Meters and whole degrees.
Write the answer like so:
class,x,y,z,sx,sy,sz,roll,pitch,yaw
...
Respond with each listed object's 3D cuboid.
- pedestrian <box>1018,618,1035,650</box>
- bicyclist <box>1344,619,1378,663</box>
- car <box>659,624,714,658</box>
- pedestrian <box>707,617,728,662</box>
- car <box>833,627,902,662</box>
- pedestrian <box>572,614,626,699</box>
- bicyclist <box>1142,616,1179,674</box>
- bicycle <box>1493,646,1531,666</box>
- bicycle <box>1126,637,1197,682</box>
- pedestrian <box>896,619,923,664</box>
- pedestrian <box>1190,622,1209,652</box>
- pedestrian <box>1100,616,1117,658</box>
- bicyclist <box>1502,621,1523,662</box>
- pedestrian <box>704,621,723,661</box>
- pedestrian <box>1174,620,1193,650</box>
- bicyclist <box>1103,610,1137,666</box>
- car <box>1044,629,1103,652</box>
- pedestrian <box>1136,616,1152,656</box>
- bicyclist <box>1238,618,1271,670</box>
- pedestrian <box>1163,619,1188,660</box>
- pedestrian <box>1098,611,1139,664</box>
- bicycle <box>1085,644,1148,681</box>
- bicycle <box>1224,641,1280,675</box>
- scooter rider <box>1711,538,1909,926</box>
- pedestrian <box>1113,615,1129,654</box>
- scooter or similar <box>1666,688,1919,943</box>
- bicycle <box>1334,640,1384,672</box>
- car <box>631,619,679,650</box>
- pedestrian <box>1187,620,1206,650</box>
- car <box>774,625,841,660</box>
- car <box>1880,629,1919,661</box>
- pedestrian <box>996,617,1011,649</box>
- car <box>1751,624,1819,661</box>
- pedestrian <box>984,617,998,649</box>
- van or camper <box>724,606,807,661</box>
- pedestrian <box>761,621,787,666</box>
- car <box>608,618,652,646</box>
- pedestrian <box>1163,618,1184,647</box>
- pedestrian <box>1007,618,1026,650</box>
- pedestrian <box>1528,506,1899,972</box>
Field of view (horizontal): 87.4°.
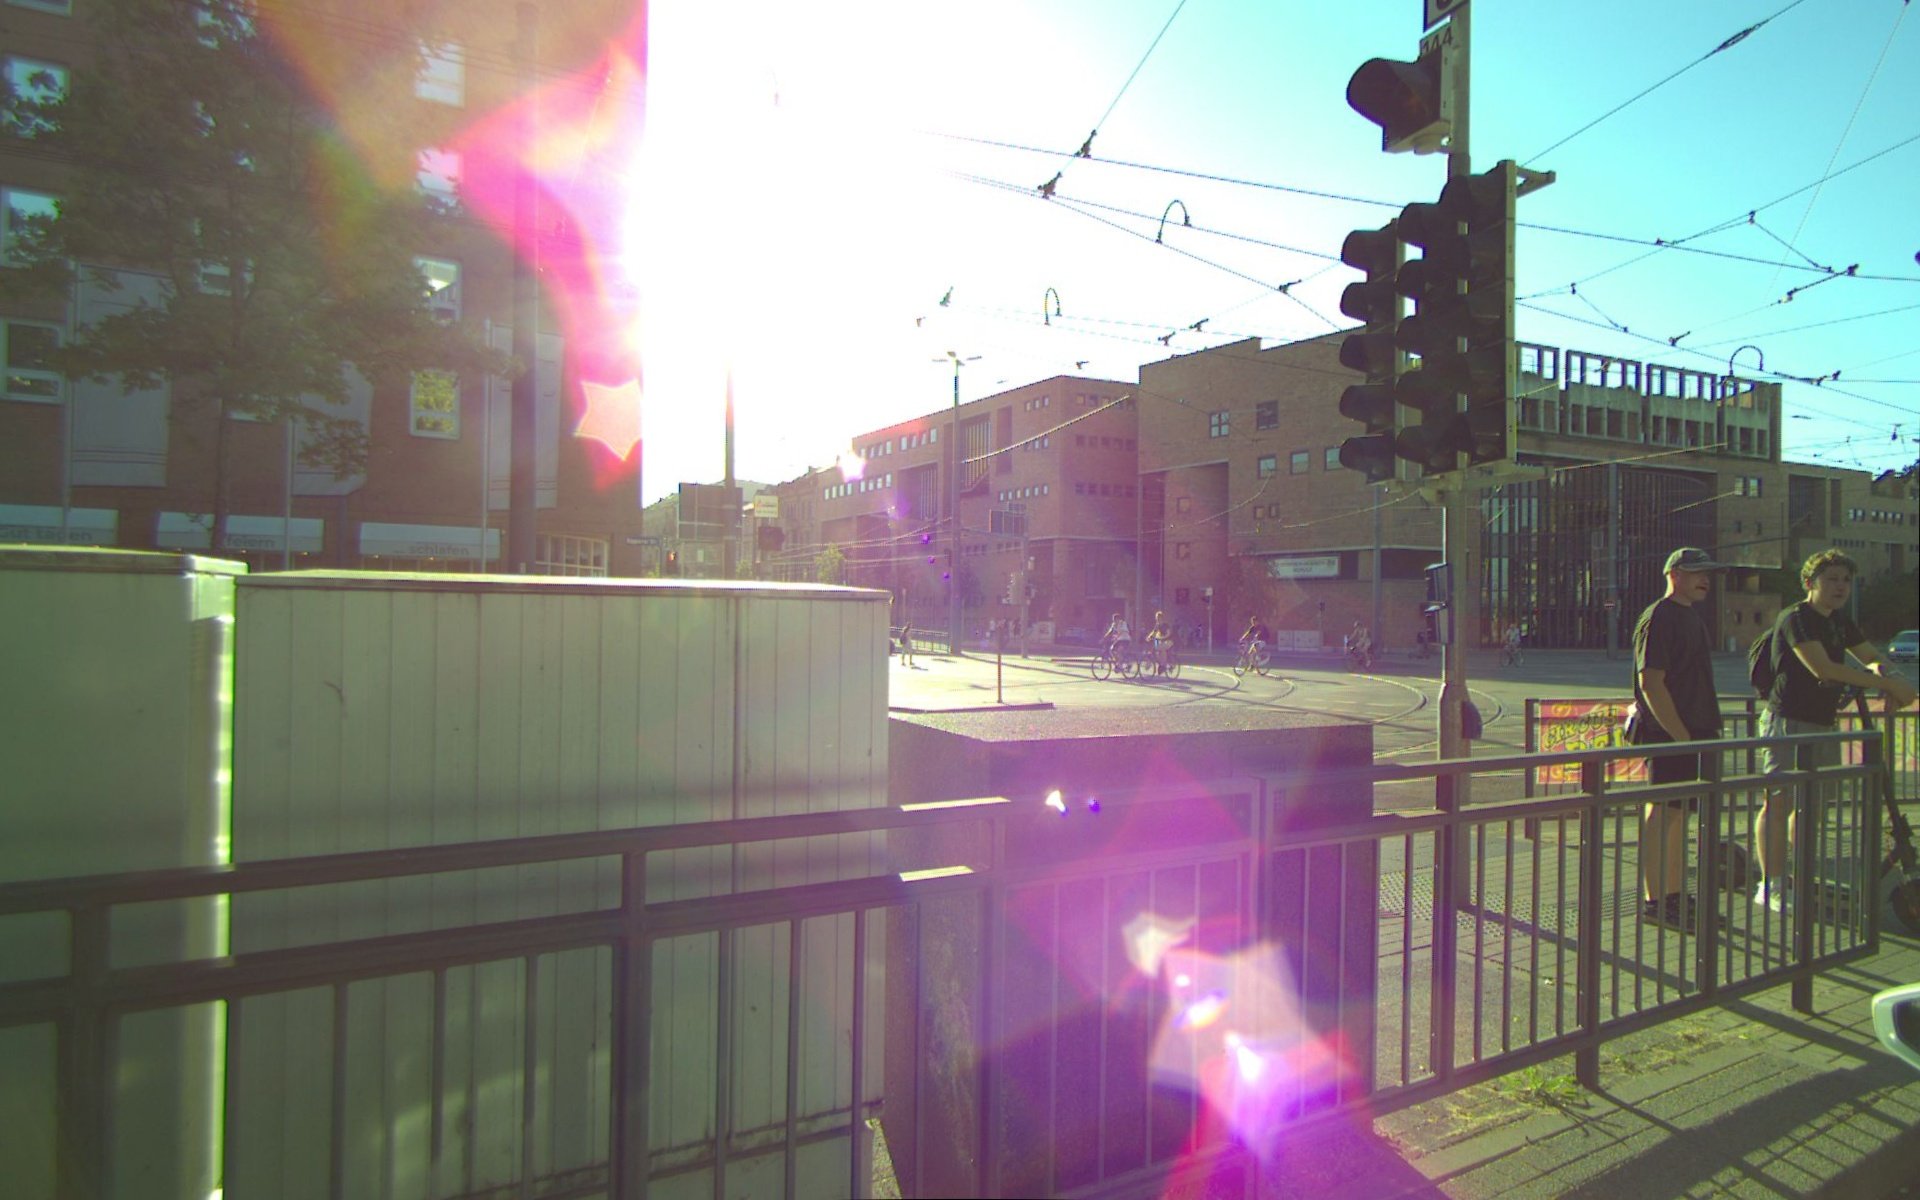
class,x,y,z,sx,sy,sz,roll,pitch,yaw
pedestrian,4.225,2.145,63.557,0.742,2.010,0.780,1,-1,-32
bicyclist,13.965,1.437,34.985,1.022,1.494,0.649,2,-1,-35
car,-14.748,2.166,54.039,1.739,1.750,3.963,1,-2,-33
pedestrian,-11.027,1.786,45.632,0.597,2.040,0.848,1,-1,-38
car,-4.812,2.243,51.805,1.978,1.709,3.965,1,-2,-33
pedestrian,-8.111,1.247,22.529,0.946,1.822,0.985,2,0,-30
bicyclist,5.647,1.248,28.334,0.751,1.581,0.677,-1,0,-34
bicycle,22.506,2.262,40.946,1.948,0.781,0.586,1,-2,-35
bicycle,5.703,1.655,28.373,2.089,1.157,0.680,-1,0,-35
pedestrian,-2.022,1.671,40.391,0.860,1.775,0.670,1,-2,-39
pedestrian,17.097,2.641,71.671,0.841,2.079,1.001,1,-1,-32
pedestrian,7.341,1.837,49.629,0.603,2.040,0.731,0,-1,30
bicyclist,22.509,1.696,40.952,0.509,1.647,0.583,1,-1,-34
pedestrian,-11.692,1.936,47.660,0.597,1.843,0.848,1,-1,-38
pedestrian,15.766,2.450,70.837,0.841,2.079,1.001,1,-1,-32
bicyclist,4.602,1.087,28.885,0.751,1.595,0.656,1,-1,-35
car,7.188,2.554,63.948,1.573,1.394,3.673,1,-2,-39
pedestrian,9.519,1.837,51.909,0.603,2.040,0.731,0,-1,30
bicyclist,9.134,1.345,31.148,0.752,1.590,0.656,1,-2,-37
pedestrian,10.225,1.875,47.671,0.866,1.927,0.718,2,0,-33
pedestrian,6.289,1.466,39.808,1.193,2.040,1.028,2,0,-30
bicycle,4.501,1.766,28.807,1.883,1.011,0.648,1,-2,-36
bicycle,9.037,1.789,31.089,1.884,1.011,0.688,1,-2,-37
scooter rider,4.461,0.657,5.281,0.670,1.877,0.564,3,-2,-25
pedestrian,8.394,1.801,52.363,0.603,2.040,0.731,0,-1,30
scooter or similar,4.488,1.045,5.205,0.639,1.095,1.199,1,-1,-25
bicycle,13.874,1.942,34.912,1.993,1.064,0.647,2,-1,-35
car,-18.233,2.039,59.911,1.738,1.750,3.965,1,-2,-32
pedestrian,16.448,2.418,69.756,0.841,2.079,1.001,1,-1,-32
car,-7.802,2.149,51.180,1.978,1.709,3.965,1,-2,-33
car,48.946,2.286,51.709,3.962,1.598,1.610,1,-2,-36
pedestrian,2.807,2.144,65.153,0.644,2.040,0.780,1,-1,-32
car,42.485,2.151,51.704,3.964,1.786,1.854,1,0,-37
pedestrian,2.024,2.150,65.177,0.607,2.040,0.727,1,-1,-32
van or camper,-9.362,1.573,47.950,1.981,2.451,4.980,1,-2,-36
pedestrian,-7.538,1.751,40.611,0.857,1.775,0.672,1,-1,-30
car,-21.310,2.060,64.777,1.738,1.750,3.965,1,-2,-32
pedestrian,14.914,2.251,70.071,0.902,2.040,1.151,1,-1,-34
pedestrian,3.553,2.122,63.085,0.917,2.010,0.780,1,-1,-32
pedestrian,3.564,0.587,4.840,0.843,1.908,1.164,1,-1,-25
